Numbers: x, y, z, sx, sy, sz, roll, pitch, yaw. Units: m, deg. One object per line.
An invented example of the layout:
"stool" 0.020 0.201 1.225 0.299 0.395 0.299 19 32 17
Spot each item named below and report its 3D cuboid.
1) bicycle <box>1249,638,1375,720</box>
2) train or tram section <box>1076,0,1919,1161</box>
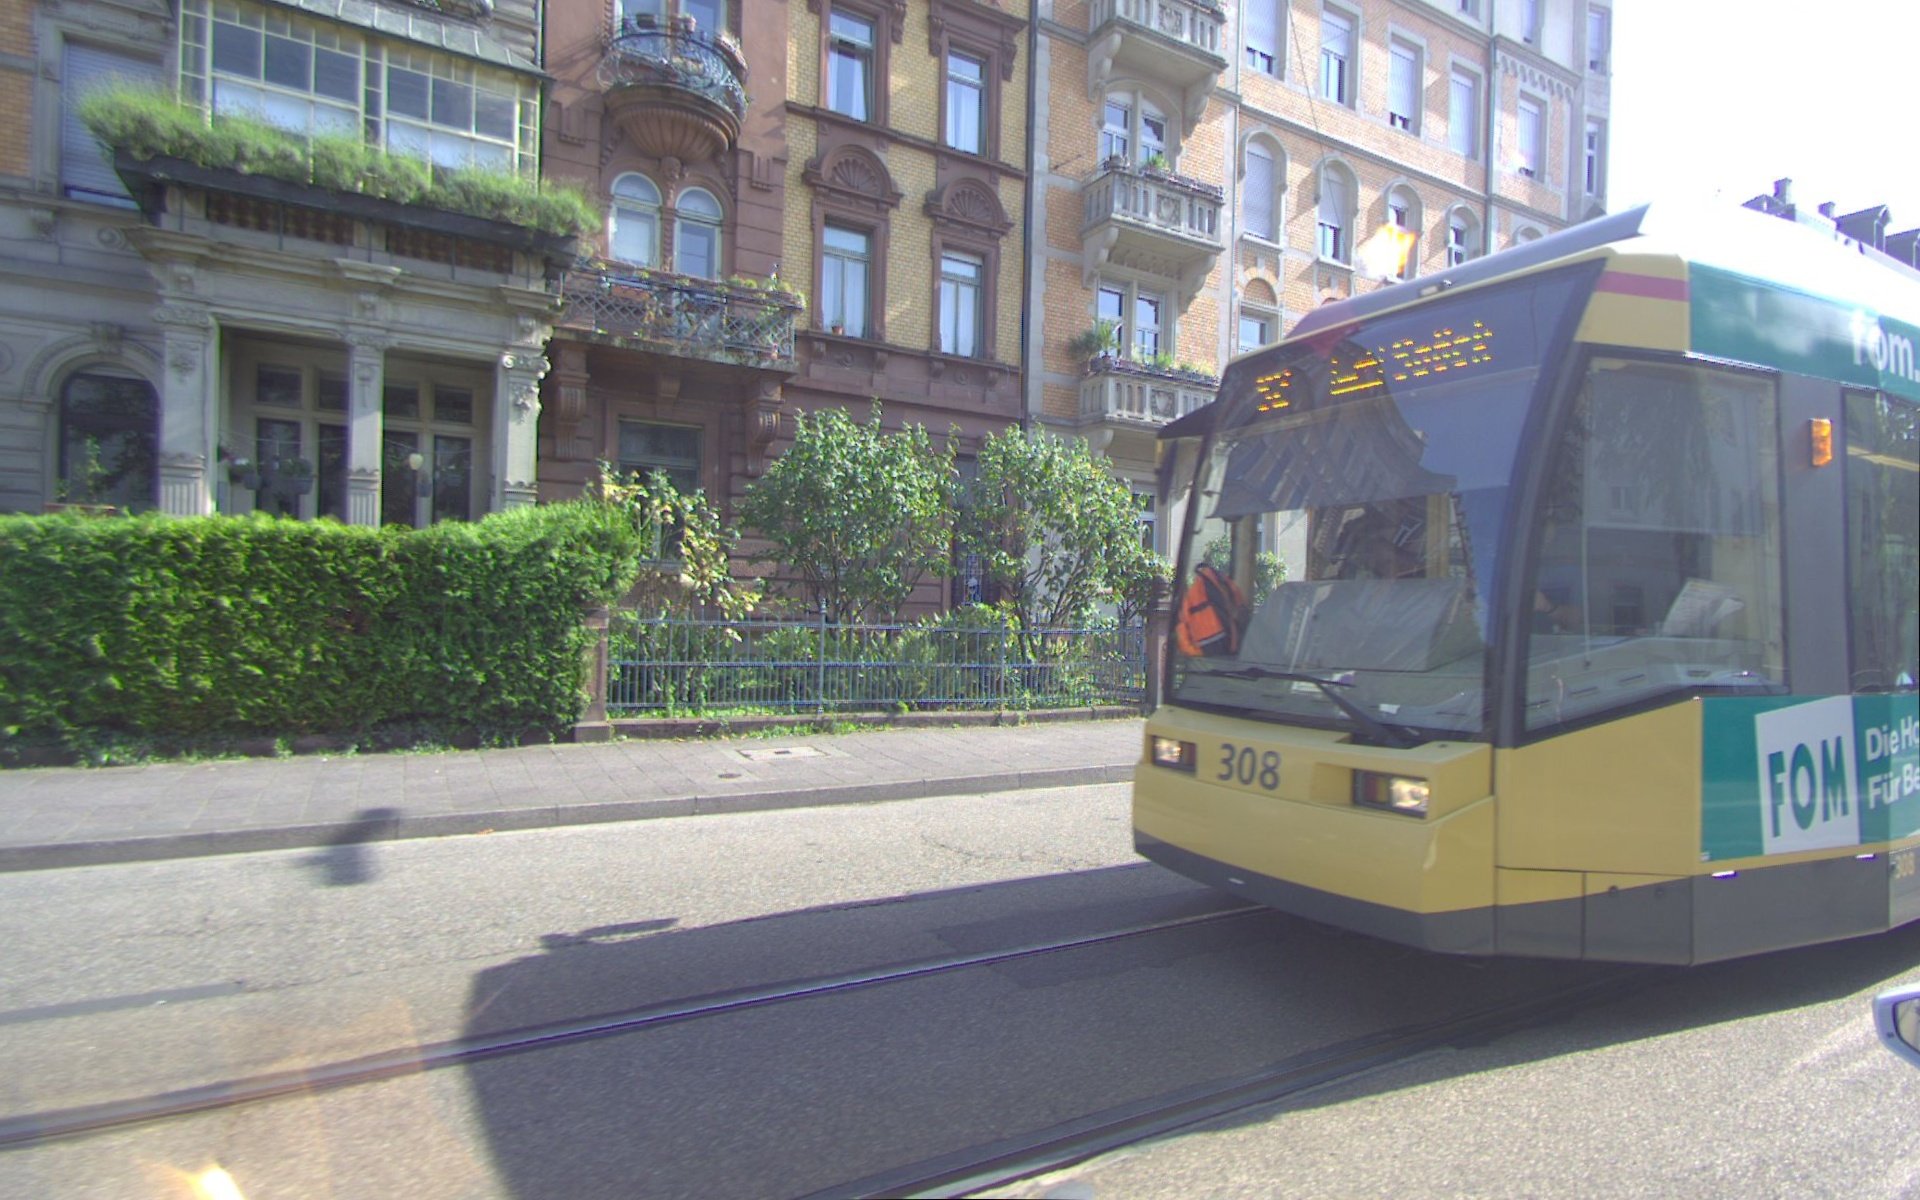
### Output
"bicycle" 5.096 1.126 14.520 1.817 1.072 0.604 2 3 -29
"train or tram section" 7.866 0.016 7.973 15.255 3.552 2.721 2 0 -31
